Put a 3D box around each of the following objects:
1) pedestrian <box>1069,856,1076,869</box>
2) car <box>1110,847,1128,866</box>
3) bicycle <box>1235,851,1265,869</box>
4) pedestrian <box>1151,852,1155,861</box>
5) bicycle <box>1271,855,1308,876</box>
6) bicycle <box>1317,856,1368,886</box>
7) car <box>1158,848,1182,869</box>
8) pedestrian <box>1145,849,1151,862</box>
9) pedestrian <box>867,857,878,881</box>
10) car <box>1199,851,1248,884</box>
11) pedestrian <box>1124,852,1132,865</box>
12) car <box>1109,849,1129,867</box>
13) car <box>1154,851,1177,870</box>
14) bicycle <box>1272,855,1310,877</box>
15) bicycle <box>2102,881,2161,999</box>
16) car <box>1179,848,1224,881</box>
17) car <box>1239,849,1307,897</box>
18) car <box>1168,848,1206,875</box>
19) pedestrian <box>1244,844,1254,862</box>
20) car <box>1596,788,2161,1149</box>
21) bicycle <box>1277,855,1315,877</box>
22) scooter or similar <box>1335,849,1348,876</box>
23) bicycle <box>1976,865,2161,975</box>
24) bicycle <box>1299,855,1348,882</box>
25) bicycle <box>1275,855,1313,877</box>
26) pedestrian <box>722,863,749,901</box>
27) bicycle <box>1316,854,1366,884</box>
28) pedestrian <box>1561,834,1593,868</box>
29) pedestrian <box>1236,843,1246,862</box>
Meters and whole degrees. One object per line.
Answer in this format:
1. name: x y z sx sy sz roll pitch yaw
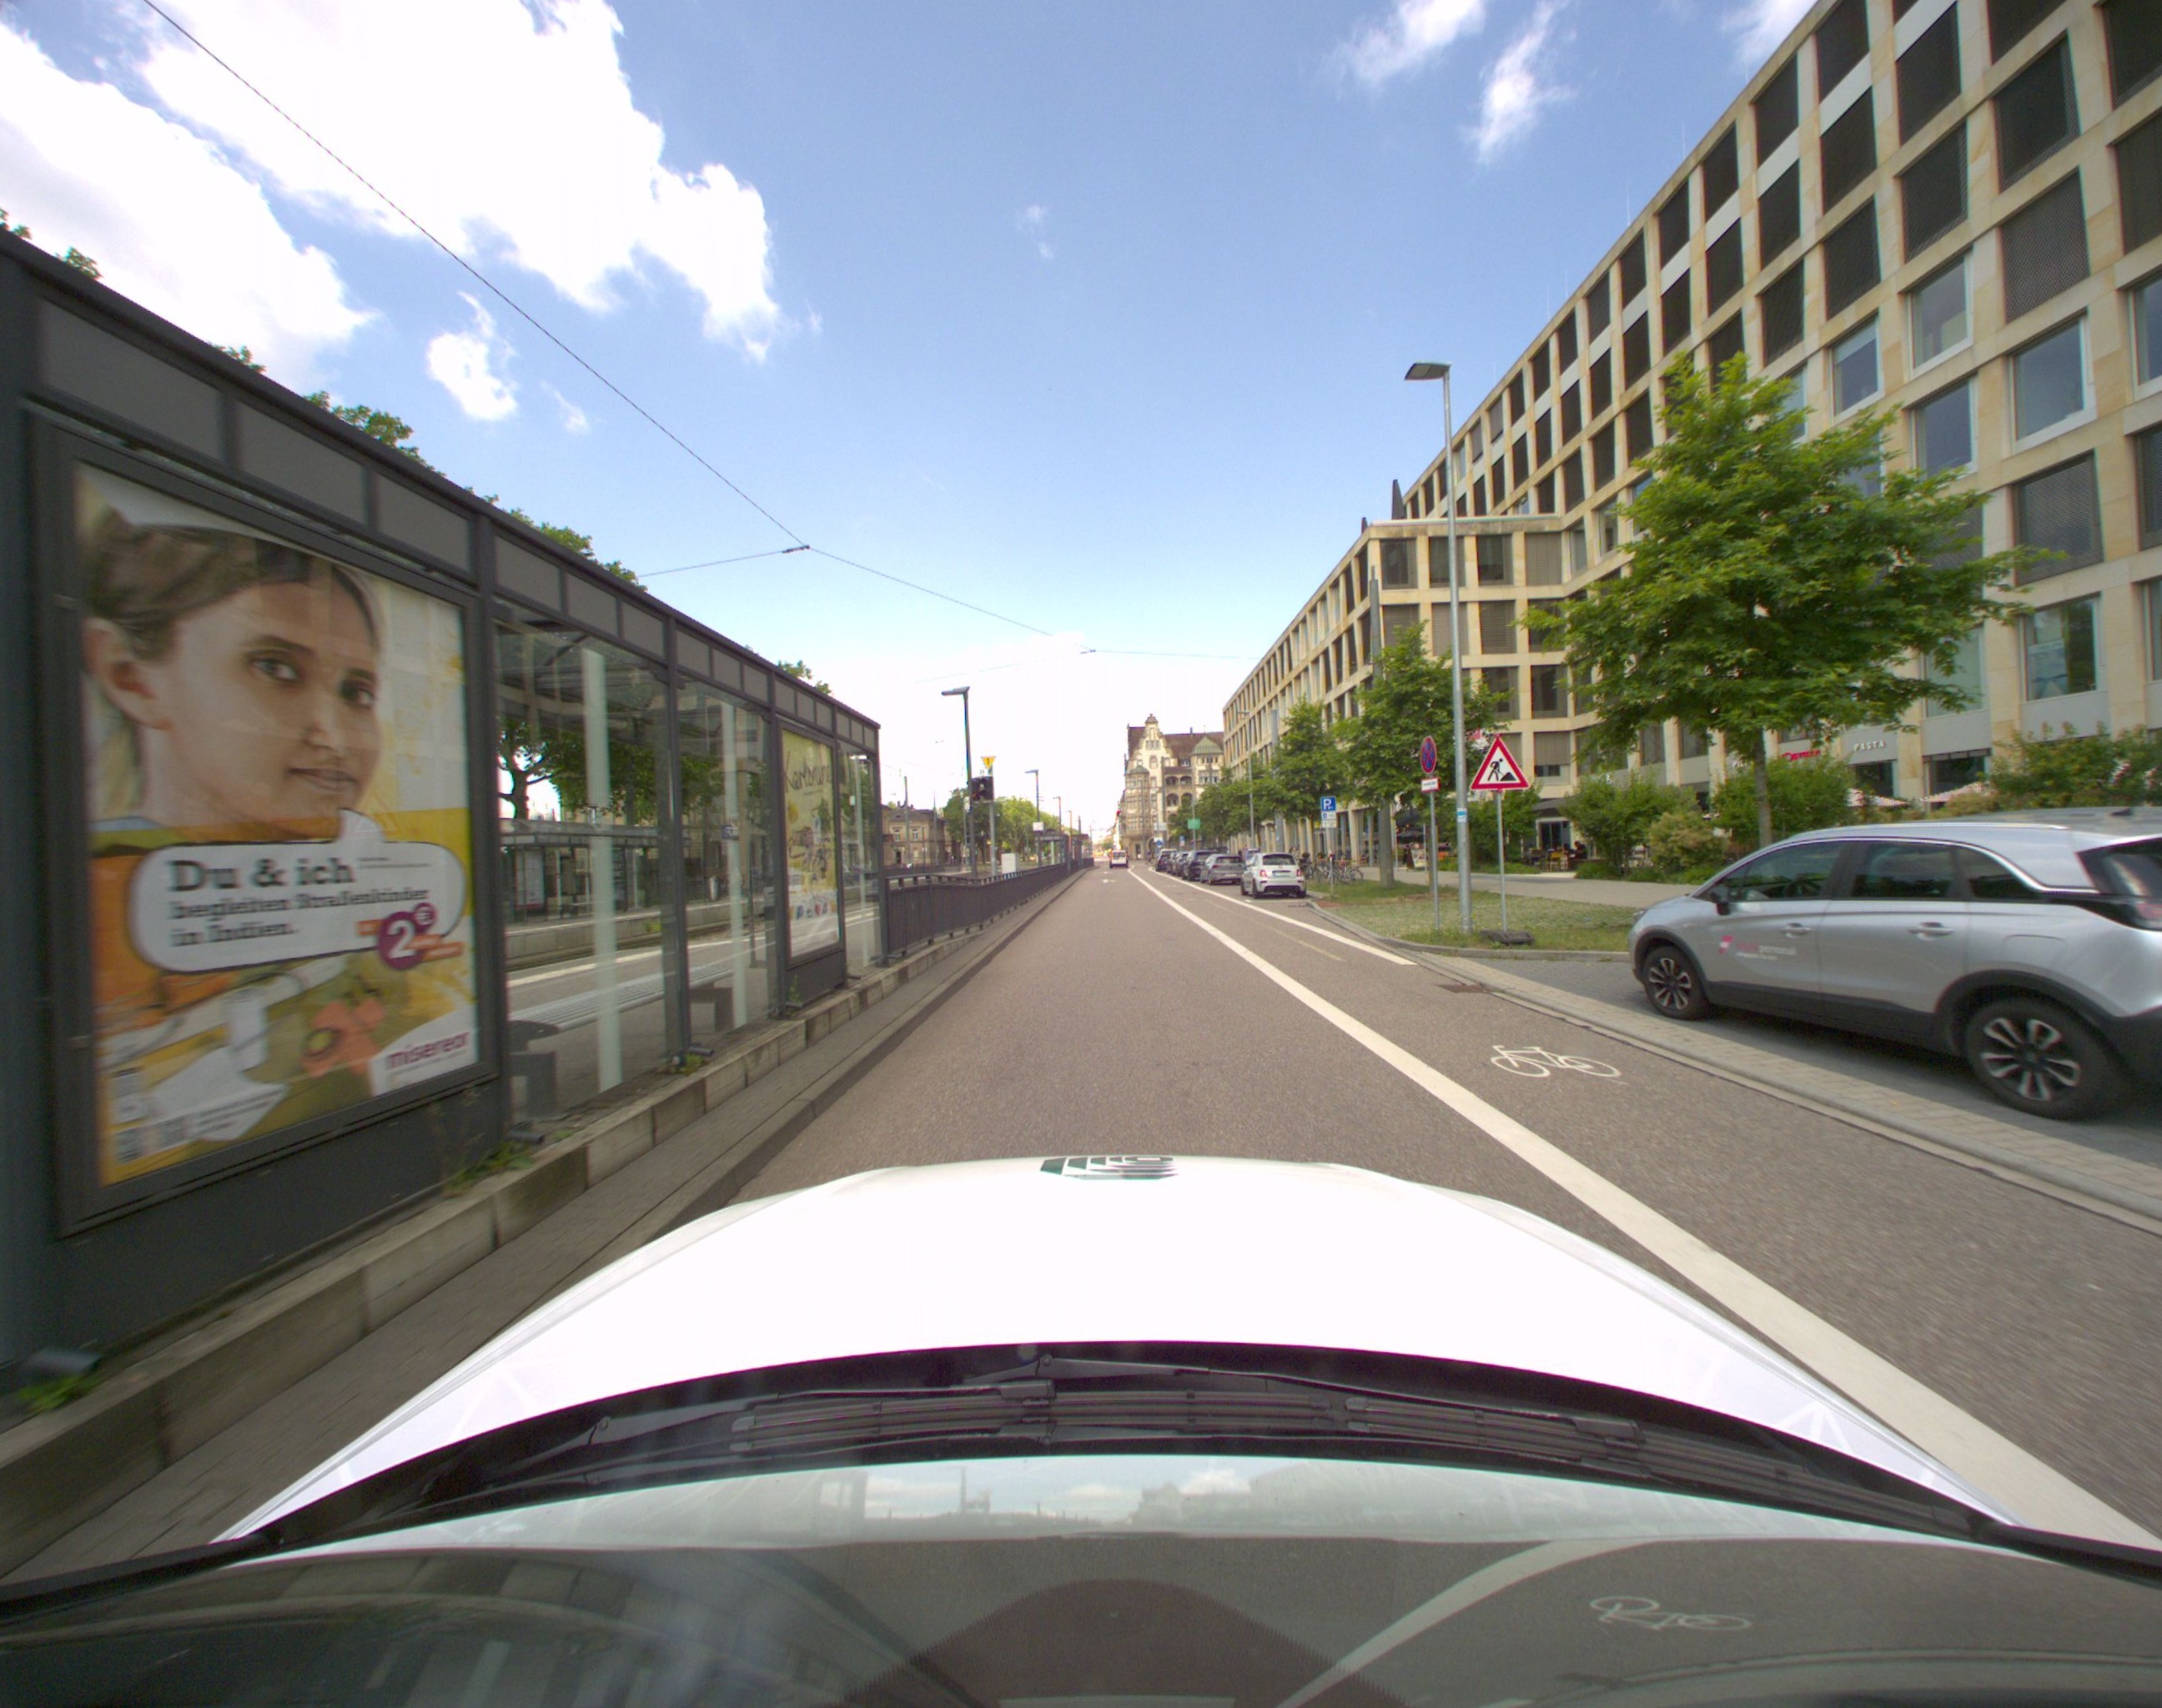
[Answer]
1. pedestrian: -0.777 0.781 73.469 0.511 1.140 0.501 -4 0 2
2. car: 4.185 0.250 90.226 1.862 2.020 4.001 -1 0 1
3. bicycle: 10.942 0.387 52.800 1.833 1.030 0.340 -4 0 0
4. pedestrian: 12.285 0.402 138.562 0.484 1.609 0.362 -4 0 1
5. bicycle: 10.513 0.585 41.114 1.746 0.986 0.326 -3 0 1
6. bicycle: 10.147 0.644 31.617 1.814 1.076 0.275 -3 0 5
7. car: 7.623 0.373 70.159 1.704 1.796 3.361 -1 0 0
8. pedestrian: 8.399 0.205 101.829 0.532 1.572 0.542 -4 0 0
9. pedestrian: -14.971 1.059 58.490 0.498 1.683 0.643 -3 0 2
10. car: 6.665 0.598 38.476 1.586 1.434 4.107 -1 0 0
11. pedestrian: 5.819 0.518 100.199 0.803 1.572 0.629 -4 0 0
12. car: 3.839 0.369 82.636 1.862 1.746 4.001 -1 0 1
13. car: 6.744 0.485 65.204 1.438 1.470 4.092 -1 0 0
14. bicycle: 10.505 0.585 40.766 1.746 0.986 0.326 -3 0 1
15. bicycle: 9.266 0.656 6.475 1.489 0.917 0.505 -3 -3 4
16. car: 6.493 0.529 44.385 1.732 1.669 4.840 -1 0 0
17. car: 6.347 0.584 27.259 1.584 1.460 3.616 -1 0 3
18. car: 6.795 0.450 52.456 1.801 1.591 4.840 -1 0 0
19. pedestrian: 15.997 -0.133 77.508 0.757 1.670 0.659 -3 0 1
20. car: 5.794 0.488 5.747 1.680 1.633 3.989 -5 0 0
21. bicycle: 10.568 0.579 40.063 1.746 0.986 0.326 -3 0 1
22. scooter or similar: 11.608 0.371 36.313 0.257 1.215 1.015 -3 0 1
23. bicycle: 9.279 0.589 7.435 1.489 0.917 0.505 -3 -4 4
24. bicycle: 10.183 0.606 34.217 1.814 1.076 0.687 -3 0 5
25. bicycle: 10.543 0.581 40.405 1.746 0.986 0.326 -3 0 1
26. pedestrian: -14.529 1.179 34.250 0.700 1.512 0.802 -3 0 -2
27. bicycle: 10.175 0.592 31.920 1.814 1.076 0.275 -3 0 5
28. pedestrian: 21.288 -0.125 34.950 0.772 1.362 0.868 -4 0 1
29. pedestrian: 15.228 -0.124 77.516 0.757 1.723 0.659 -3 0 1
